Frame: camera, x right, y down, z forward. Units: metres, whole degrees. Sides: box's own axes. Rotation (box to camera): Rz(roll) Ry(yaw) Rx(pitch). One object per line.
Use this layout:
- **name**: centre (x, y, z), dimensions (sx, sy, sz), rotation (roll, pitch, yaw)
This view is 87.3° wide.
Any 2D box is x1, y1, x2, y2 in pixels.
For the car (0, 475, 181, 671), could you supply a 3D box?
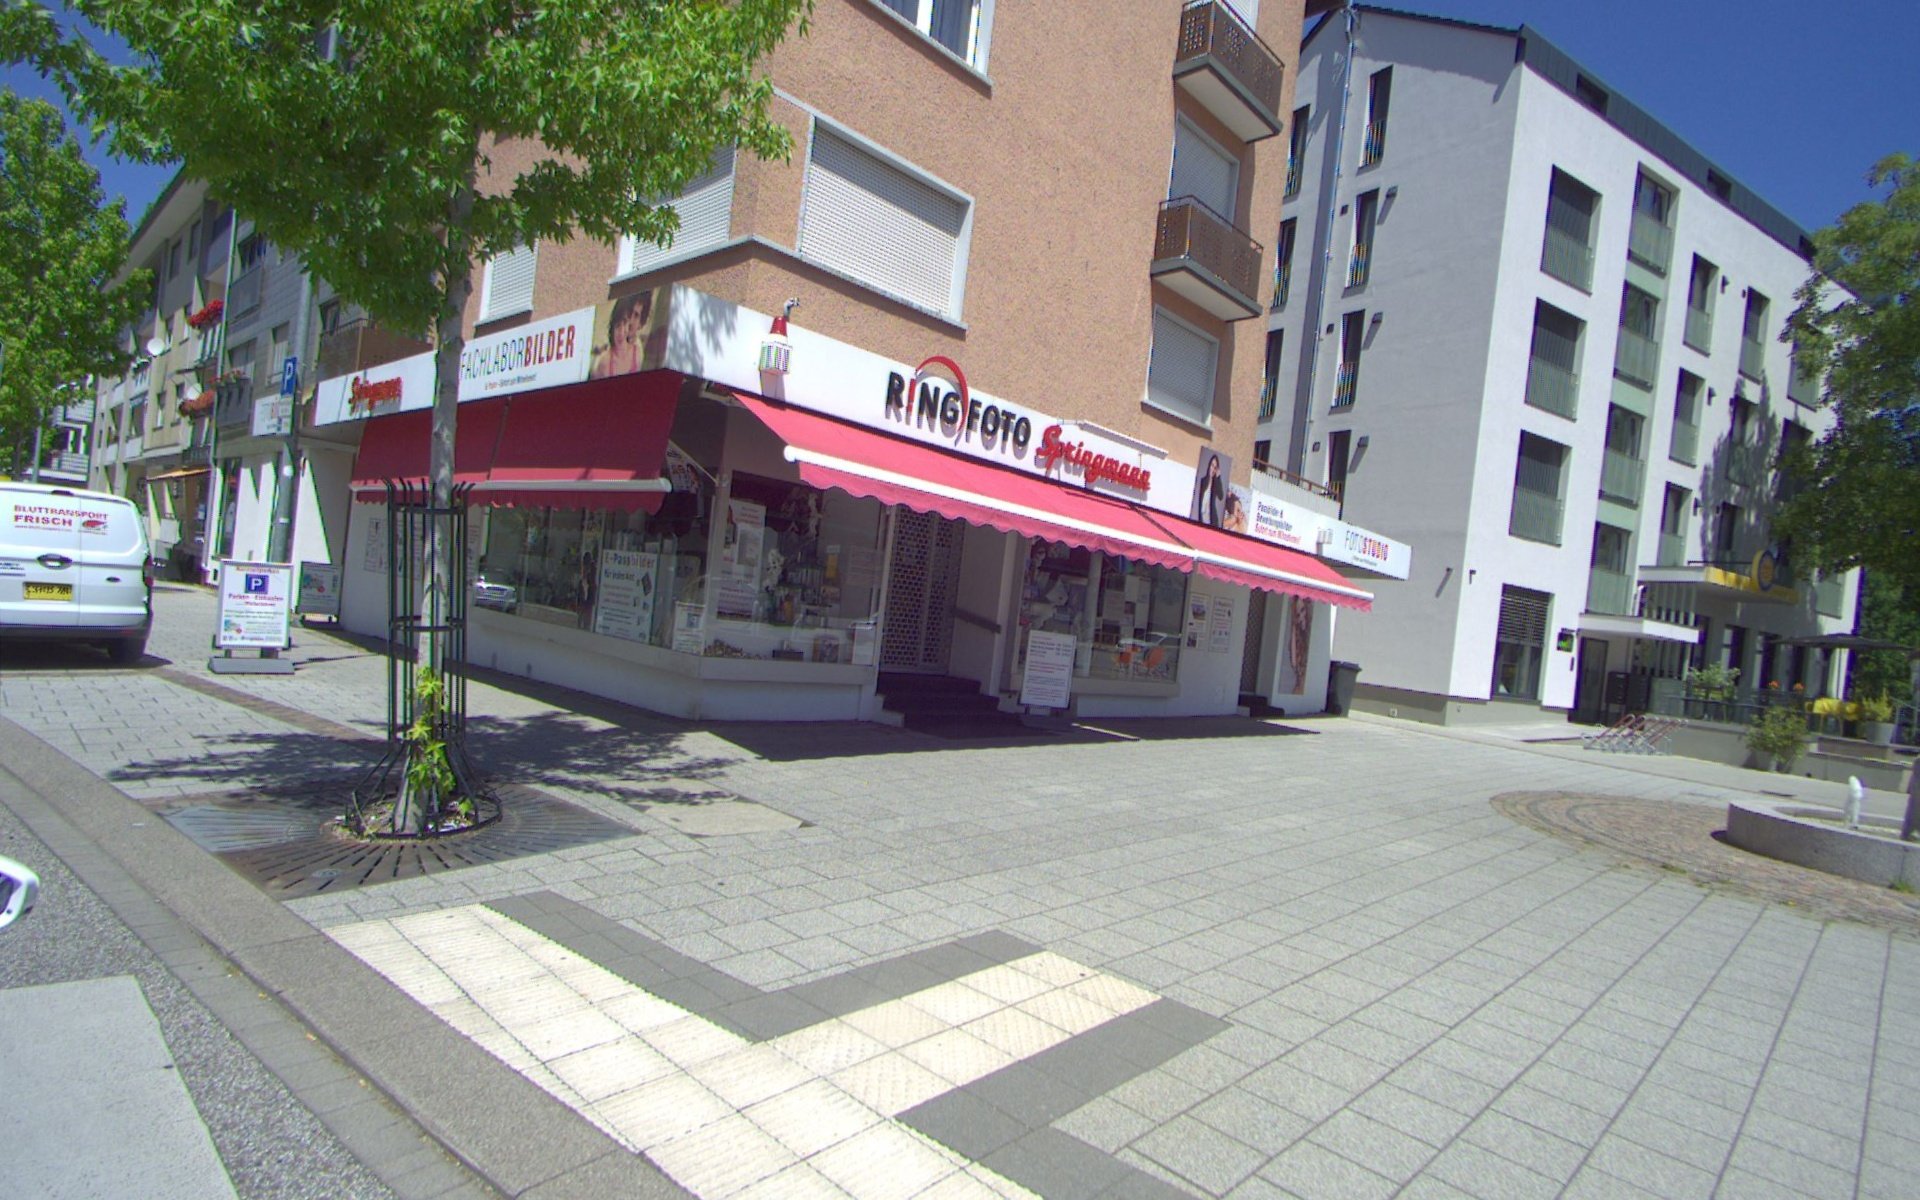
- **car**: centre (-9.905, -0.361, 10.415), dimensions (3.848, 1.746, 1.747), rotation (5, 1, 34)

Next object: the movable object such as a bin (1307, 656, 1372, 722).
- **movable object such as a bin**: centre (7.512, 1.759, 19.910), dimensions (0.752, 1.170, 0.768), rotation (5, 3, -28)
